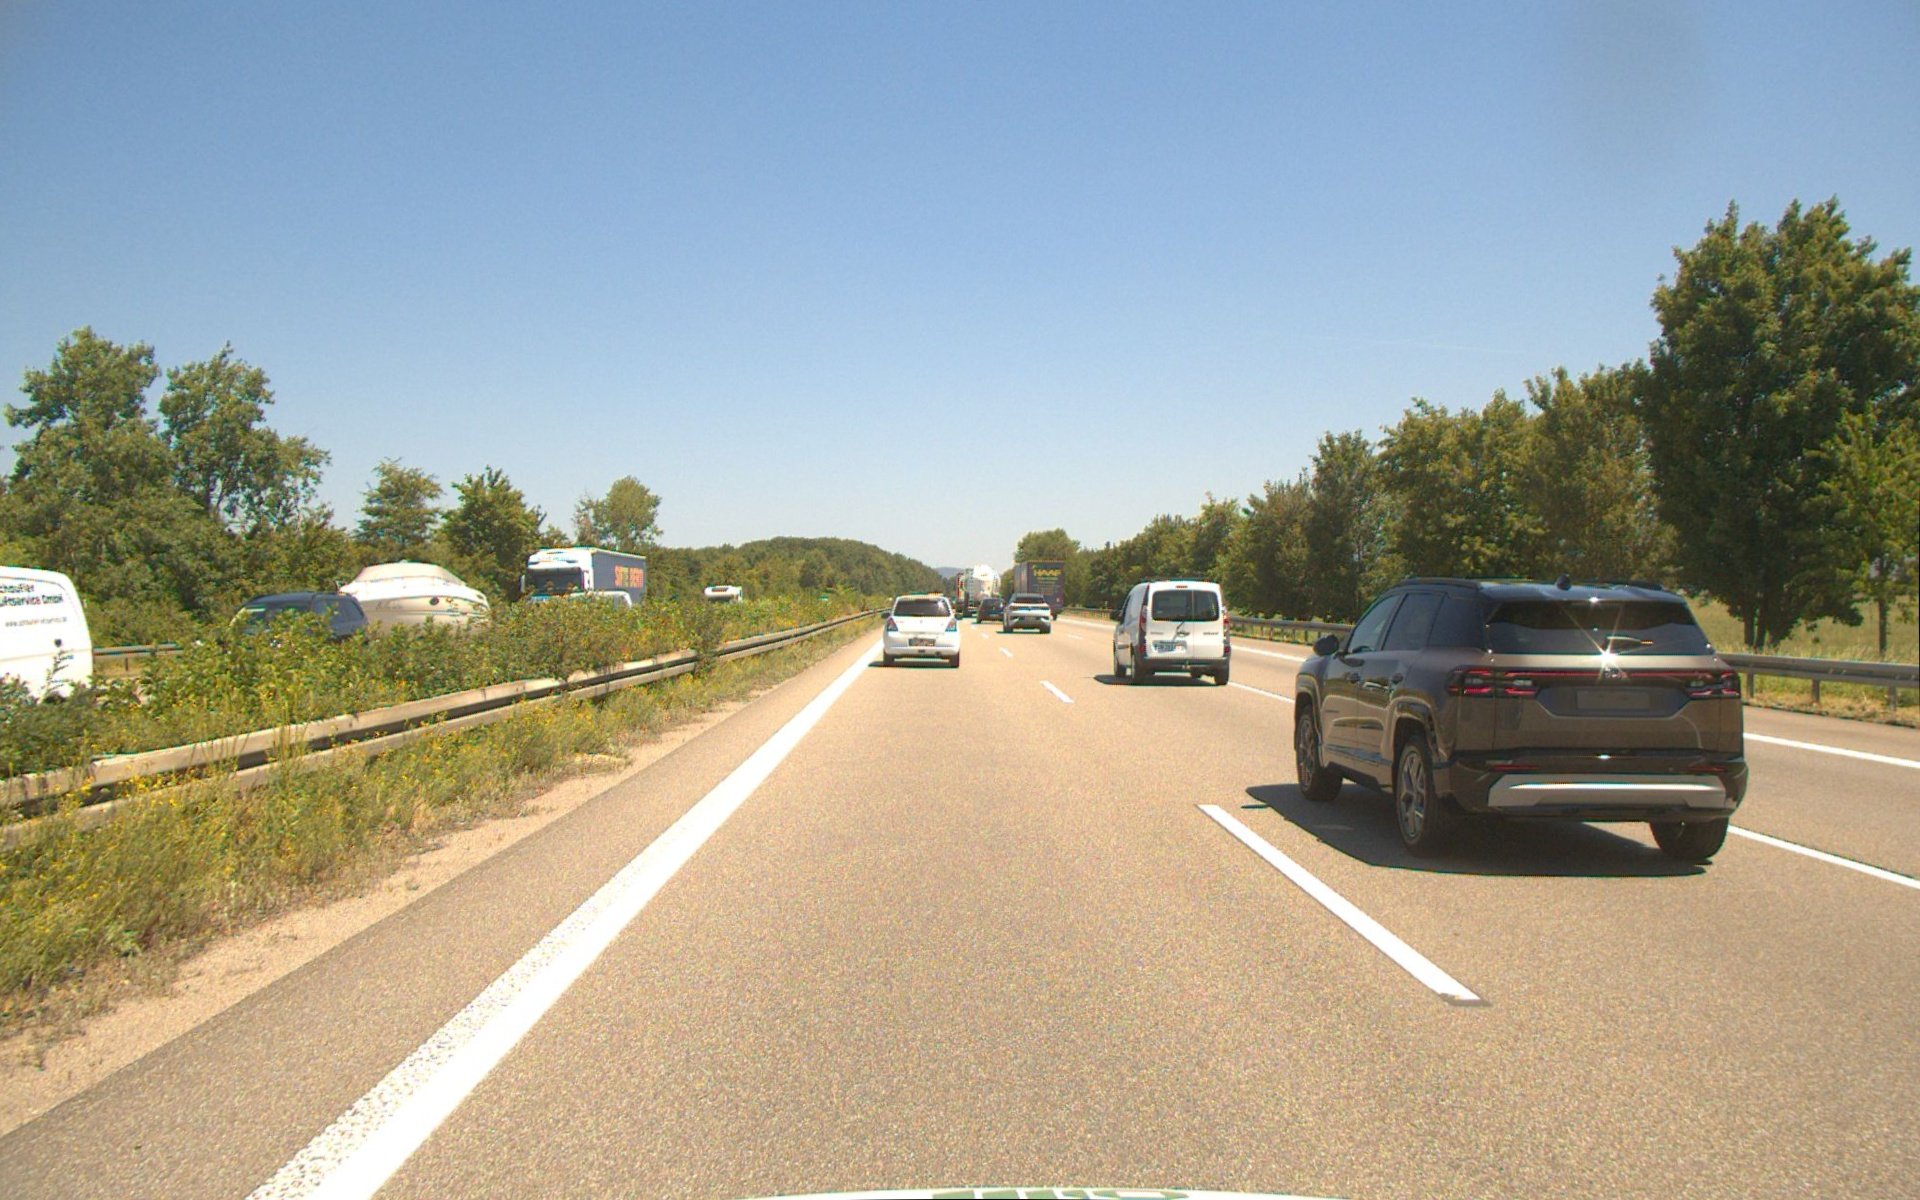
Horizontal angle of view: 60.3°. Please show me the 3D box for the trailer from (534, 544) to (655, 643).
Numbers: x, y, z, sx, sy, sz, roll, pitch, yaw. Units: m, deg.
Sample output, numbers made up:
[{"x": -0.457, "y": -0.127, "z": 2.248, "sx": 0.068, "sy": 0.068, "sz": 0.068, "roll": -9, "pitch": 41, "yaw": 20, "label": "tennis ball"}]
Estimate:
[{"x": -17.484, "y": -0.100, "z": 80.295, "sx": 2.917, "sy": 4.285, "sz": 13.731, "roll": -1, "pitch": -2, "yaw": -1, "label": "trailer"}]

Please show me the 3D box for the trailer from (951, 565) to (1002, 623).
[{"x": 1.213, "y": -0.440, "z": 127.434, "sx": 2.854, "sy": 4.140, "sz": 12.407, "roll": 1, "pitch": 0, "yaw": -4, "label": "trailer"}]

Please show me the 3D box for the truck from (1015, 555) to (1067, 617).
[{"x": 5.830, "y": -0.955, "z": 121.605, "sx": 3.045, "sy": 4.211, "sz": 15.510, "roll": 1, "pitch": 0, "yaw": 0, "label": "truck"}]

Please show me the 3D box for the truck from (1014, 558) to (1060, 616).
[{"x": 5.840, "y": -0.975, "z": 126.642, "sx": 3.045, "sy": 4.211, "sz": 8.055, "roll": 1, "pitch": 0, "yaw": 0, "label": "truck"}]

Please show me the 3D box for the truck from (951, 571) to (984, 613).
[{"x": 0.788, "y": -0.788, "z": 175.501, "sx": 3.325, "sy": 4.287, "sz": 12.082, "roll": 1, "pitch": 0, "yaw": 0, "label": "truck"}]

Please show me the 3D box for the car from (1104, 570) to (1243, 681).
[{"x": 3.913, "y": 0.450, "z": 31.003, "sx": 1.816, "sy": 1.895, "sz": 4.700, "roll": 1, "pitch": 0, "yaw": -2, "label": "car"}]

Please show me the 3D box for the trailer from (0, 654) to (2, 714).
[{"x": -16.860, "y": -0.183, "z": 19.694, "sx": 2.701, "sy": 4.174, "sz": 14.050, "roll": -3, "pitch": 0, "yaw": 0, "label": "trailer"}]

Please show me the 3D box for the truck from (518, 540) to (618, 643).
[{"x": -17.383, "y": -0.293, "z": 73.666, "sx": 2.945, "sy": 4.285, "sz": 6.309, "roll": -1, "pitch": -2, "yaw": -1, "label": "truck"}]

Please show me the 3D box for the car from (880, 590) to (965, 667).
[{"x": -0.832, "y": 0.602, "z": 36.576, "sx": 1.763, "sy": 1.579, "sz": 3.609, "roll": 1, "pitch": 0, "yaw": -2, "label": "car"}]

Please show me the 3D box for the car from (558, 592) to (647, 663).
[{"x": -11.201, "y": 0.822, "z": 52.116, "sx": 1.954, "sy": 2.109, "sz": 4.710, "roll": 1, "pitch": 0, "yaw": -3, "label": "car"}]

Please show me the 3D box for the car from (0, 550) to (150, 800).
[{"x": -8.916, "y": 0.604, "z": 13.515, "sx": 1.953, "sy": 2.066, "sz": 5.489, "roll": 1, "pitch": 0, "yaw": -1, "label": "car"}]

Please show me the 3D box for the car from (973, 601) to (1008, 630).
[{"x": 1.695, "y": 0.848, "z": 92.499, "sx": 1.813, "sy": 1.549, "sz": 3.956, "roll": 1, "pitch": 0, "yaw": -1, "label": "car"}]

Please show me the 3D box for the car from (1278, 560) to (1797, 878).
[{"x": 3.612, "y": 0.655, "z": 11.392, "sx": 1.829, "sy": 1.704, "sz": 4.745, "roll": 1, "pitch": 0, "yaw": -1, "label": "car"}]

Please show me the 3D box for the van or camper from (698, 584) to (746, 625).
[{"x": -18.758, "y": 0.329, "z": 130.697, "sx": 2.792, "sy": 3.021, "sz": 7.445, "roll": -2, "pitch": 0, "yaw": -1, "label": "van or camper"}]

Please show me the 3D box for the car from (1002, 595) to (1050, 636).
[{"x": 2.721, "y": 0.625, "z": 69.096, "sx": 1.766, "sy": 1.631, "sz": 4.380, "roll": 1, "pitch": 0, "yaw": -1, "label": "car"}]
